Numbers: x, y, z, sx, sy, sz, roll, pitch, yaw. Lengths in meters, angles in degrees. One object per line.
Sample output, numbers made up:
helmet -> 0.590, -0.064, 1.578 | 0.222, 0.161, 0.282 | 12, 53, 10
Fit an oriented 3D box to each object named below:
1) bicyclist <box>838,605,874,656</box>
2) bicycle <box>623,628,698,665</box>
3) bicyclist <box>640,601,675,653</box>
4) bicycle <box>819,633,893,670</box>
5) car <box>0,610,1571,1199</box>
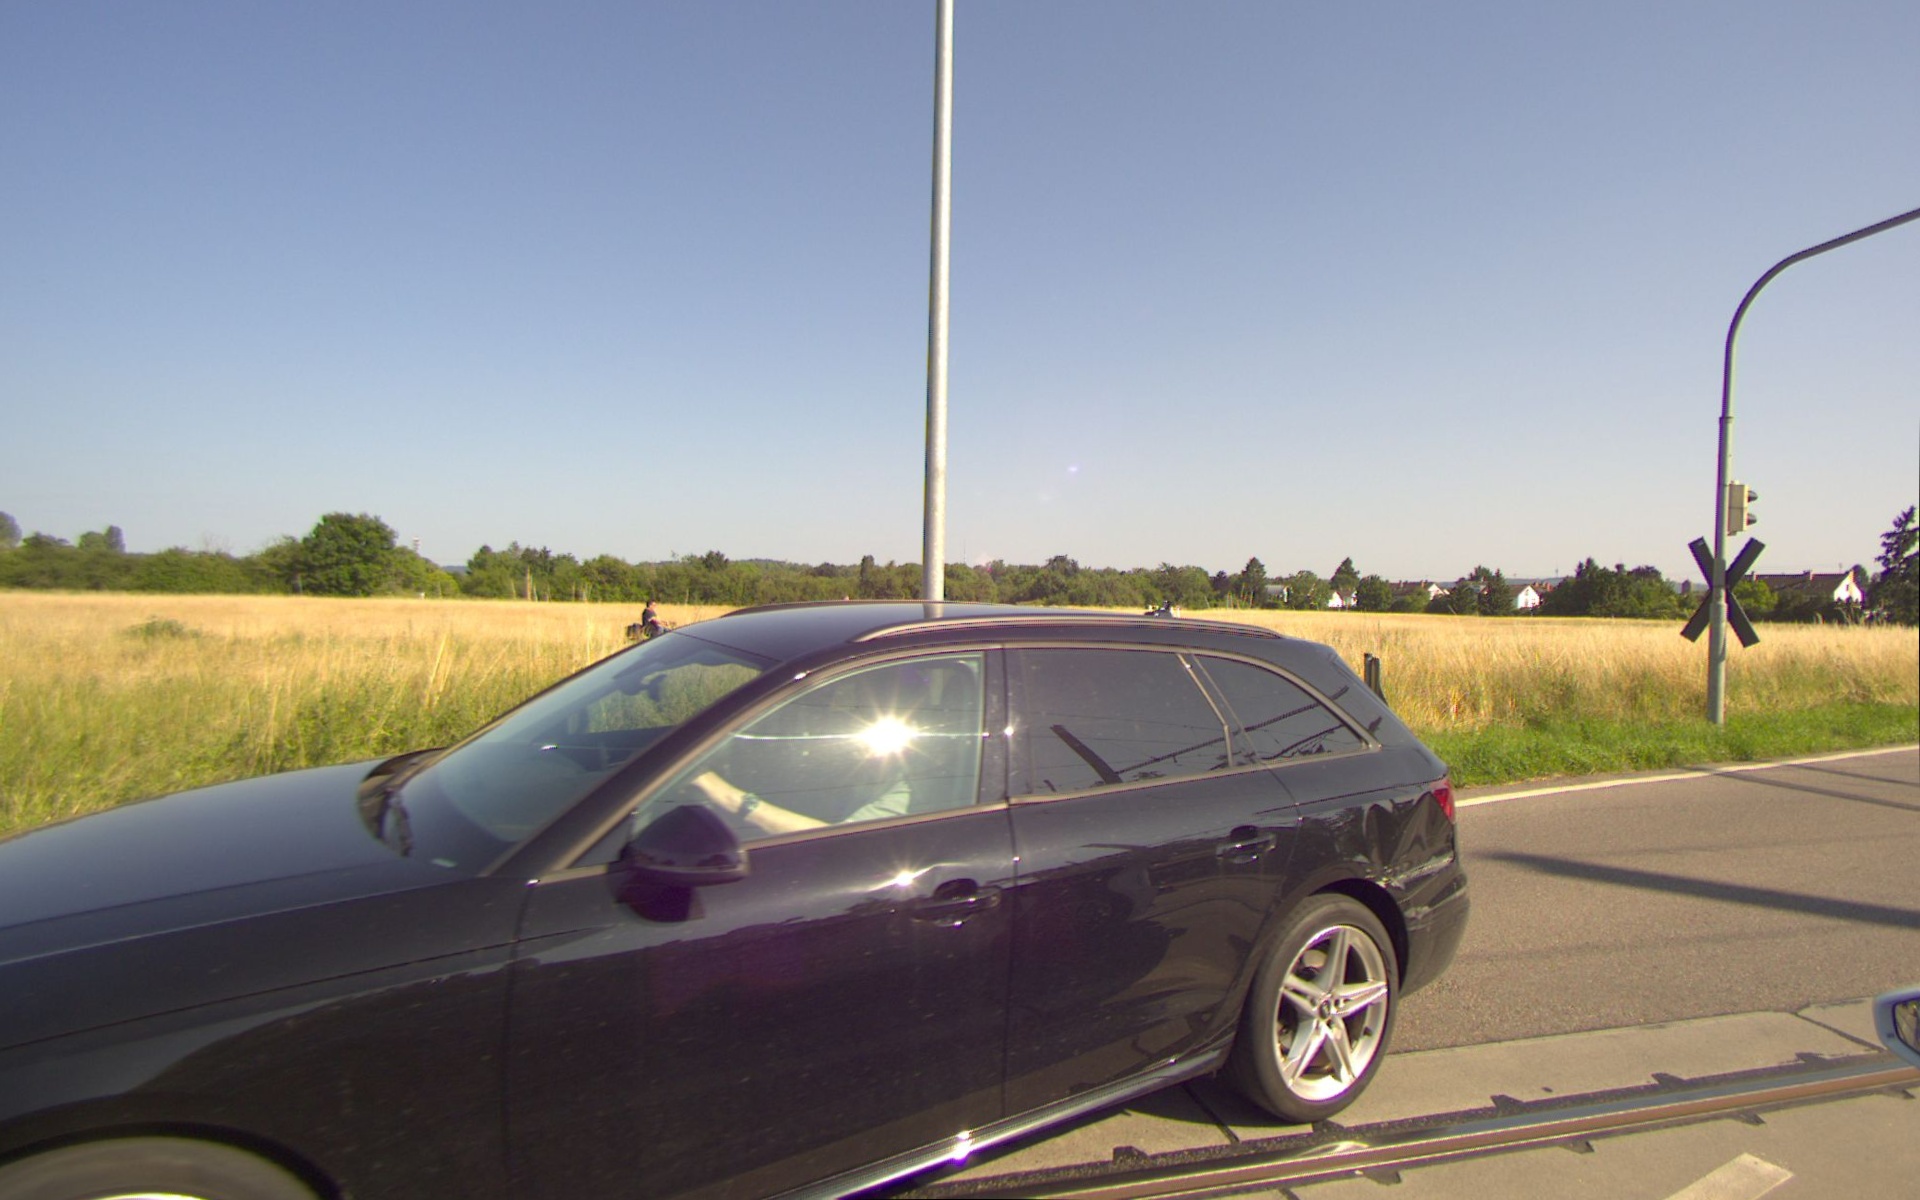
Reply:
bicyclist -> -2.570, 0.742, 24.782 | 0.776, 1.221, 0.745 | 1, 1, -15
bicycle -> -7.194, 1.126, 24.205 | 1.707, 0.850, 0.613 | 1, 0, -14
bicyclist -> -7.269, 0.653, 24.178 | 0.776, 1.221, 0.602 | 1, 1, -14
bicycle -> -2.571, 1.262, 24.788 | 1.707, 0.850, 0.750 | 1, 1, -14
car -> -0.237, 0.793, 2.979 | 4.233, 1.459, 1.684 | 0, 1, -30
